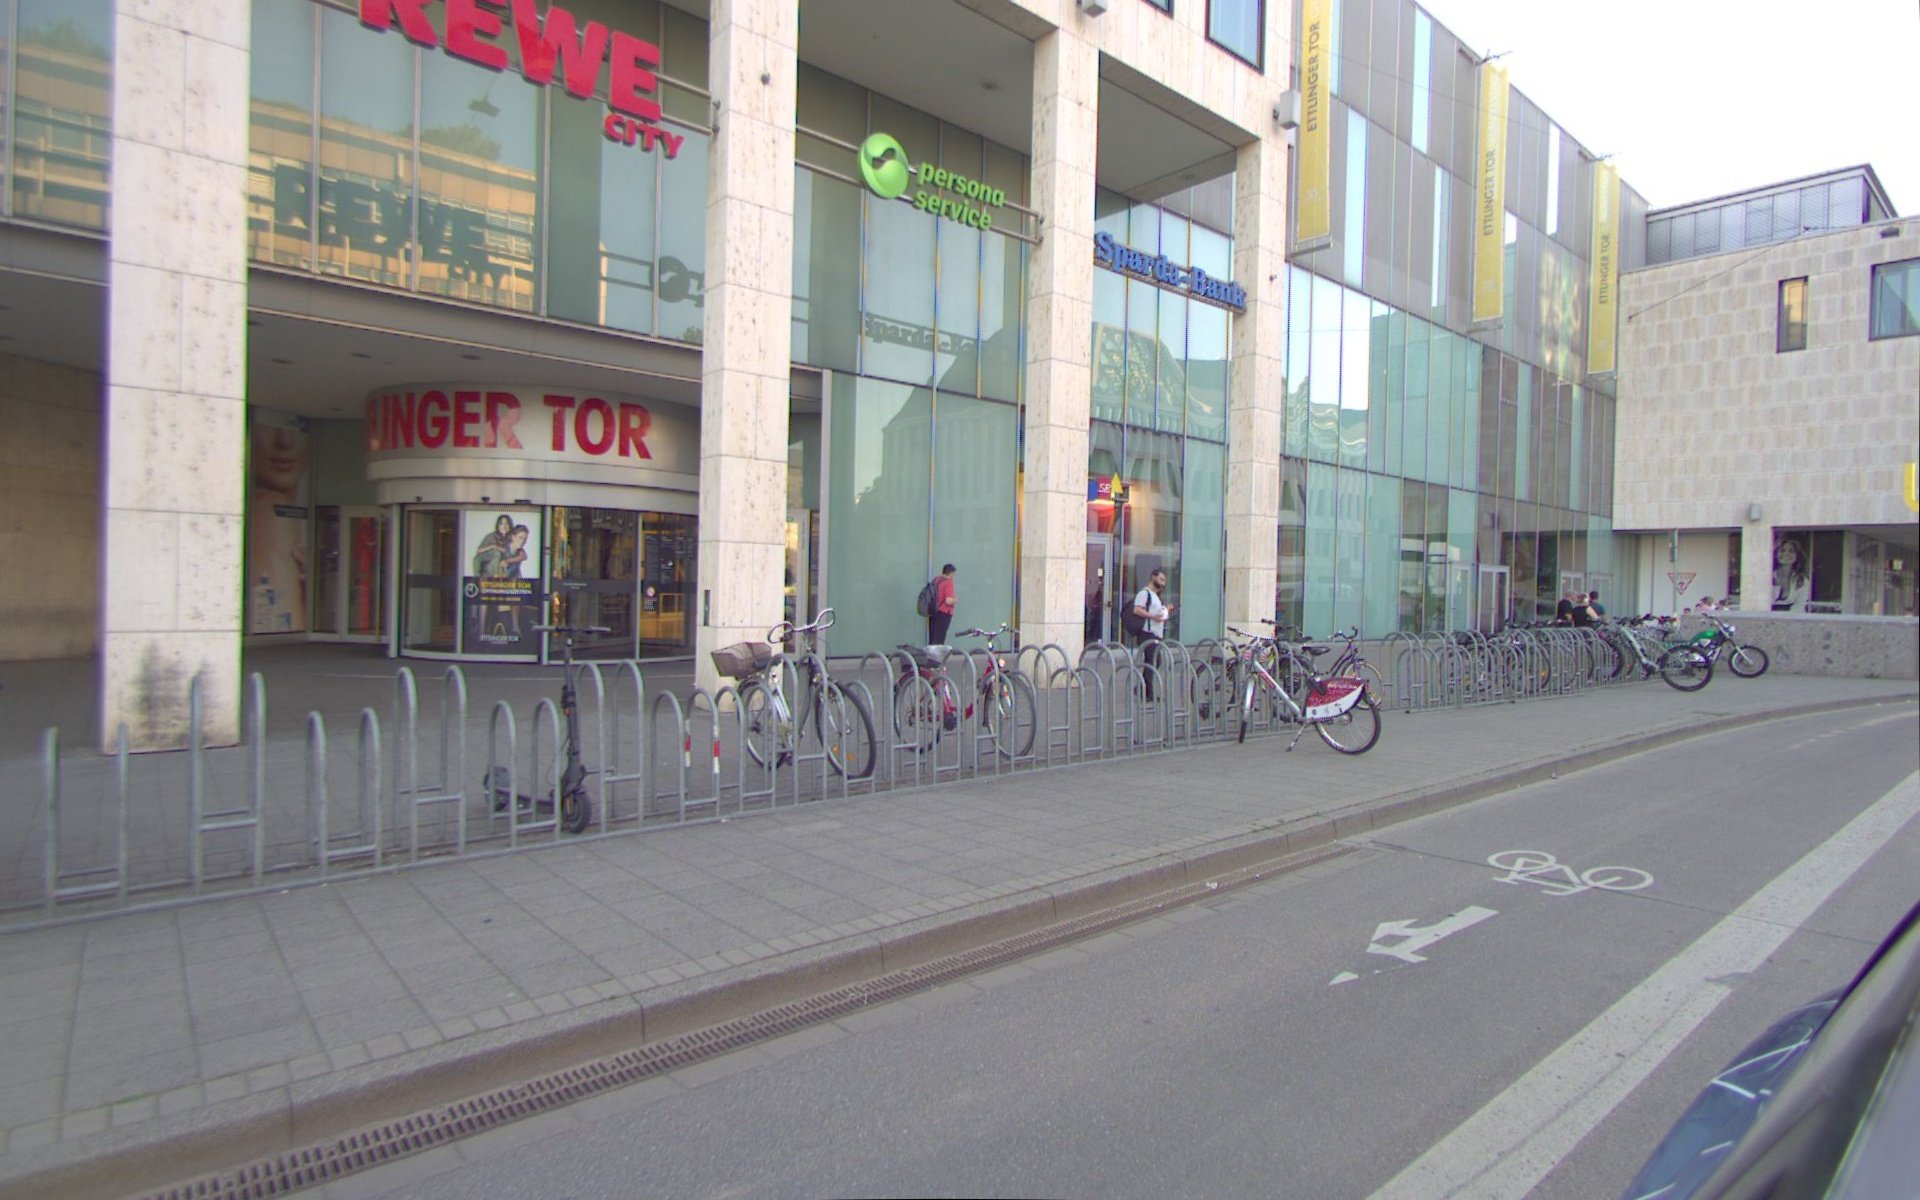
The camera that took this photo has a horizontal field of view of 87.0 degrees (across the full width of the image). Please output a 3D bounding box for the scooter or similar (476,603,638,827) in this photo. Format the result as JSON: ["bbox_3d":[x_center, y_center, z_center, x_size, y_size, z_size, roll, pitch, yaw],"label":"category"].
[{"bbox_3d":[-2.518,0.651,6.275,0.484,1.214,1.194,1,1,-44],"label":"scooter or similar"}]

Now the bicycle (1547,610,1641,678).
[{"bbox_3d":[11.394,0.769,18.220,0.509,1.179,1.344,1,-2,-41],"label":"bicycle"}]

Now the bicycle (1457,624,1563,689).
[{"bbox_3d":[8.455,0.854,15.586,0.509,0.944,1.344,1,-2,-41],"label":"bicycle"}]

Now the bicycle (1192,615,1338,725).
[{"bbox_3d":[3.379,0.741,11.311,0.569,1.138,1.519,1,-2,-36],"label":"bicycle"}]

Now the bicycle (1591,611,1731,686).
[{"bbox_3d":[11.566,0.773,16.745,0.458,1.161,1.837,1,-2,-39],"label":"bicycle"}]

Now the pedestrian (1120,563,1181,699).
[{"bbox_3d":[2.480,0.383,13.163,0.698,1.713,0.626,2,1,16],"label":"pedestrian"}]

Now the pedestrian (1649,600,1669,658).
[{"bbox_3d":[21.788,0.899,31.529,0.444,1.765,0.364,1,1,-38],"label":"pedestrian"}]

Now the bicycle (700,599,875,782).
[{"bbox_3d":[-1.333,0.625,7.656,0.607,1.243,1.517,1,-2,-41],"label":"bicycle"}]

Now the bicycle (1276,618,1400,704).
[{"bbox_3d":[5.013,0.780,13.450,1.439,1.078,0.572,-1,-2,39],"label":"bicycle"}]

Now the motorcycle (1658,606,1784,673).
[{"bbox_3d":[15.579,0.790,20.767,0.472,1.239,2.004,1,1,-43],"label":"motorcycle"}]

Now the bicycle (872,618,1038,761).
[{"bbox_3d":[-0.075,0.713,8.670,0.543,1.120,1.516,1,-2,-43],"label":"bicycle"}]

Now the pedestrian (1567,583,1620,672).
[{"bbox_3d":[12.219,0.510,19.534,0.802,1.663,0.640,2,1,31],"label":"pedestrian"}]

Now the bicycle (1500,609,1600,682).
[{"bbox_3d":[9.831,0.736,16.896,0.509,1.179,1.344,1,-2,-41],"label":"bicycle"}]

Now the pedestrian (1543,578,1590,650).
[{"bbox_3d":[14.590,0.323,24.366,0.811,1.668,0.735,2,1,22],"label":"pedestrian"}]

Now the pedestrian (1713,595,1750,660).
[{"bbox_3d":[22.093,0.782,28.992,0.797,1.802,0.619,1,1,-38],"label":"pedestrian"}]

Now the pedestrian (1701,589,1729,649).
[{"bbox_3d":[22.858,0.573,30.641,0.644,1.765,0.494,1,1,-38],"label":"pedestrian"}]

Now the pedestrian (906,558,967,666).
[{"bbox_3d":[-0.374,0.185,16.158,0.695,1.672,0.629,1,1,-40],"label":"pedestrian"}]

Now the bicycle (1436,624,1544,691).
[{"bbox_3d":[7.945,0.842,15.207,0.509,0.944,1.344,1,-2,-41],"label":"bicycle"}]

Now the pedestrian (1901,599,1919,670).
[{"bbox_3d":[24.071,0.870,25.432,0.483,1.765,0.516,1,1,-38],"label":"pedestrian"}]

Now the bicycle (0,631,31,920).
[{"bbox_3d":[-4.664,0.727,4.614,1.768,1.092,0.475,3,1,43],"label":"bicycle"}]

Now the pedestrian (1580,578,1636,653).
[{"bbox_3d":[15.271,0.355,23.851,0.803,1.717,0.700,1,1,-15],"label":"pedestrian"}]

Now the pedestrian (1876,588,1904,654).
[{"bbox_3d":[25.557,0.573,27.798,0.483,1.765,0.455,1,1,-38],"label":"pedestrian"}]

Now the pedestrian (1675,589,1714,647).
[{"bbox_3d":[22.915,0.561,31.580,0.644,1.765,0.794,1,1,-38],"label":"pedestrian"}]

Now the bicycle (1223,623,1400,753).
[{"bbox_3d":[3.171,0.759,9.248,0.458,1.077,1.518,1,-2,-39],"label":"bicycle"}]
